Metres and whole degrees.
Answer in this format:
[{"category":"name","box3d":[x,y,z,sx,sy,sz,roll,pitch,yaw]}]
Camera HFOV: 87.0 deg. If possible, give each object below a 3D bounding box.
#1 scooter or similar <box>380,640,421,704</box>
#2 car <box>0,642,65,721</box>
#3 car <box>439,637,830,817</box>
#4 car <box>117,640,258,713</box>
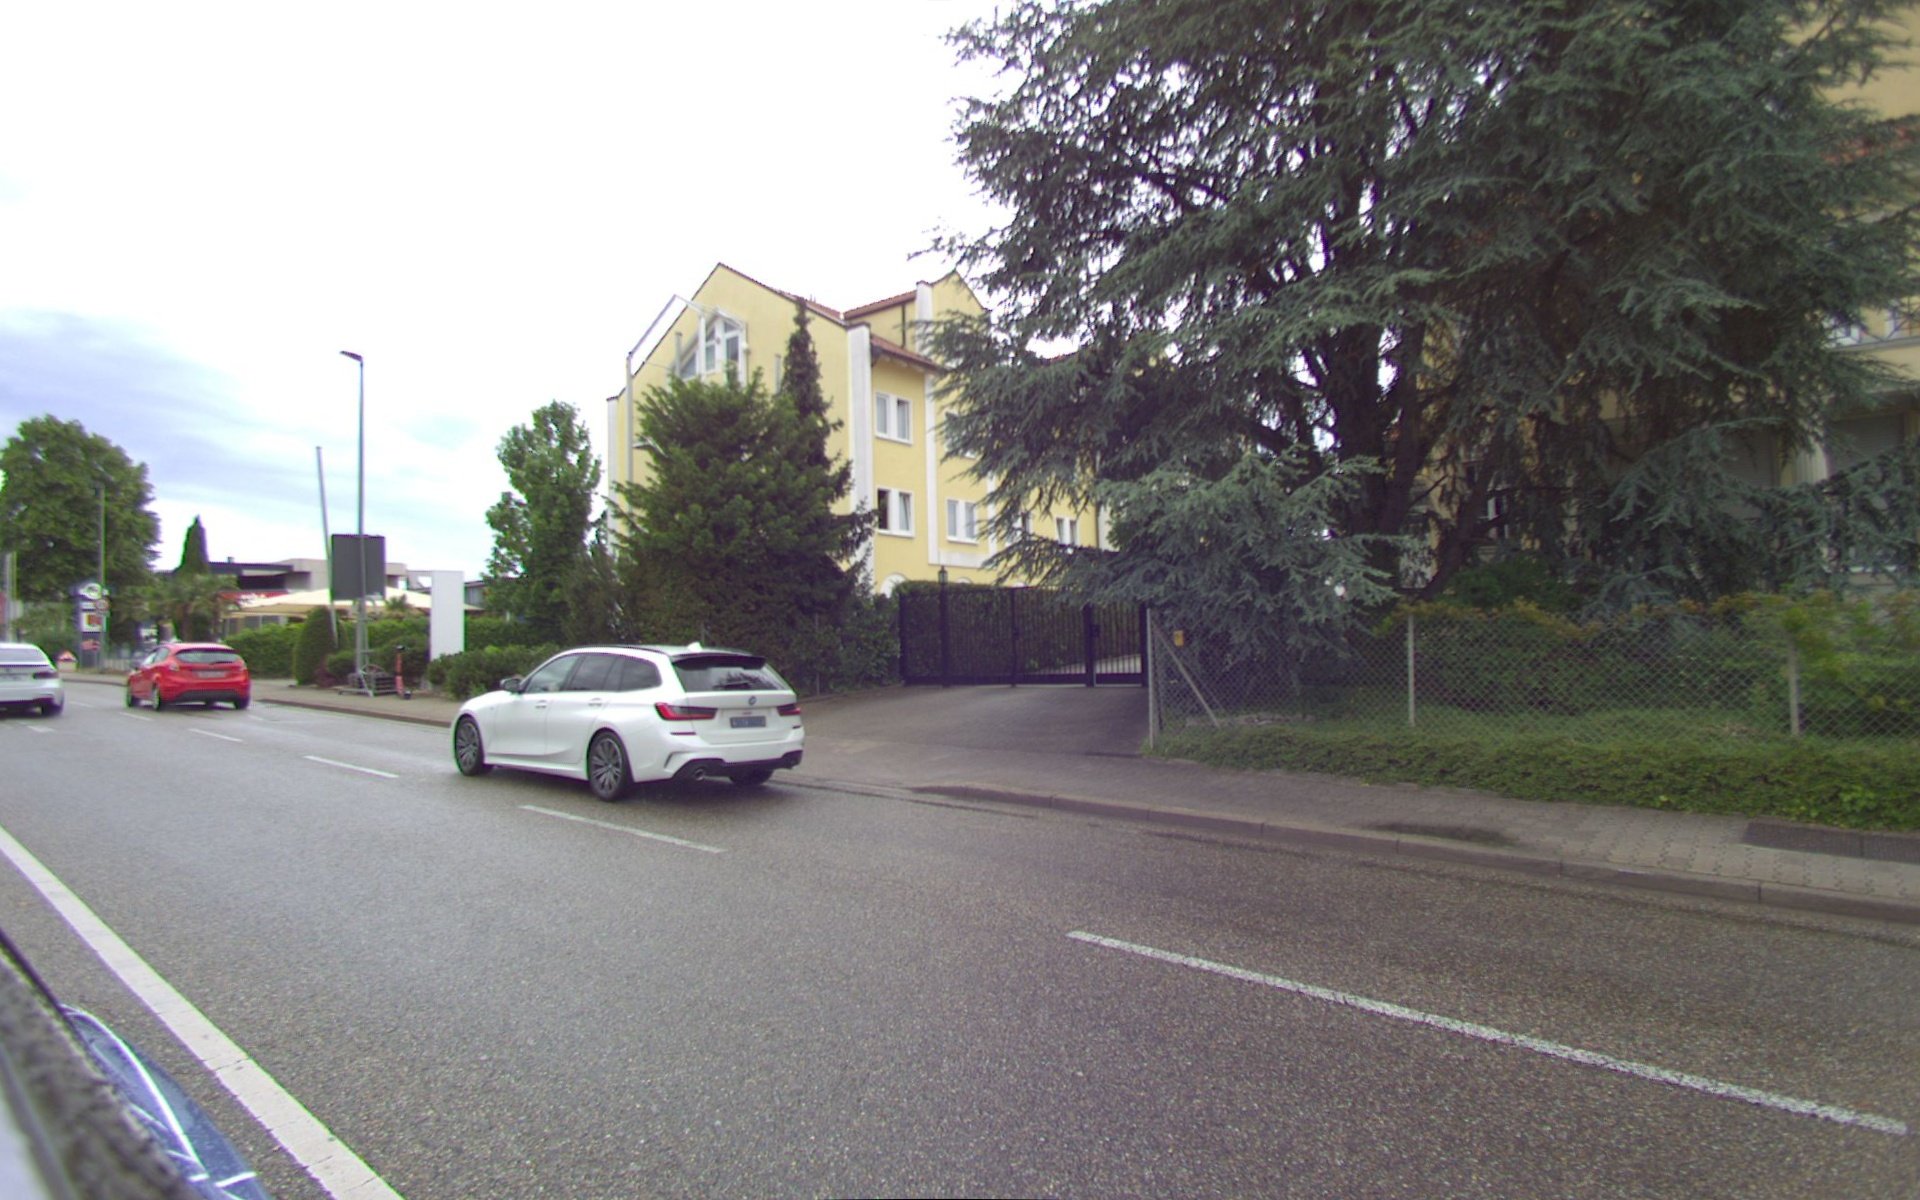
[{"category":"scooter or similar","box3d":[-13.022,1.646,23.549,0.498,1.416,1.884,2,-3,-39]},{"category":"car","box3d":[-19.197,1.557,19.911,4.269,1.392,1.796,-2,-2,40]},{"category":"car","box3d":[-3.522,1.145,10.521,4.428,1.471,1.767,-1,-4,40]},{"category":"car","box3d":[-17.277,1.658,22.593,3.778,1.487,1.678,-2,-4,40]}]
